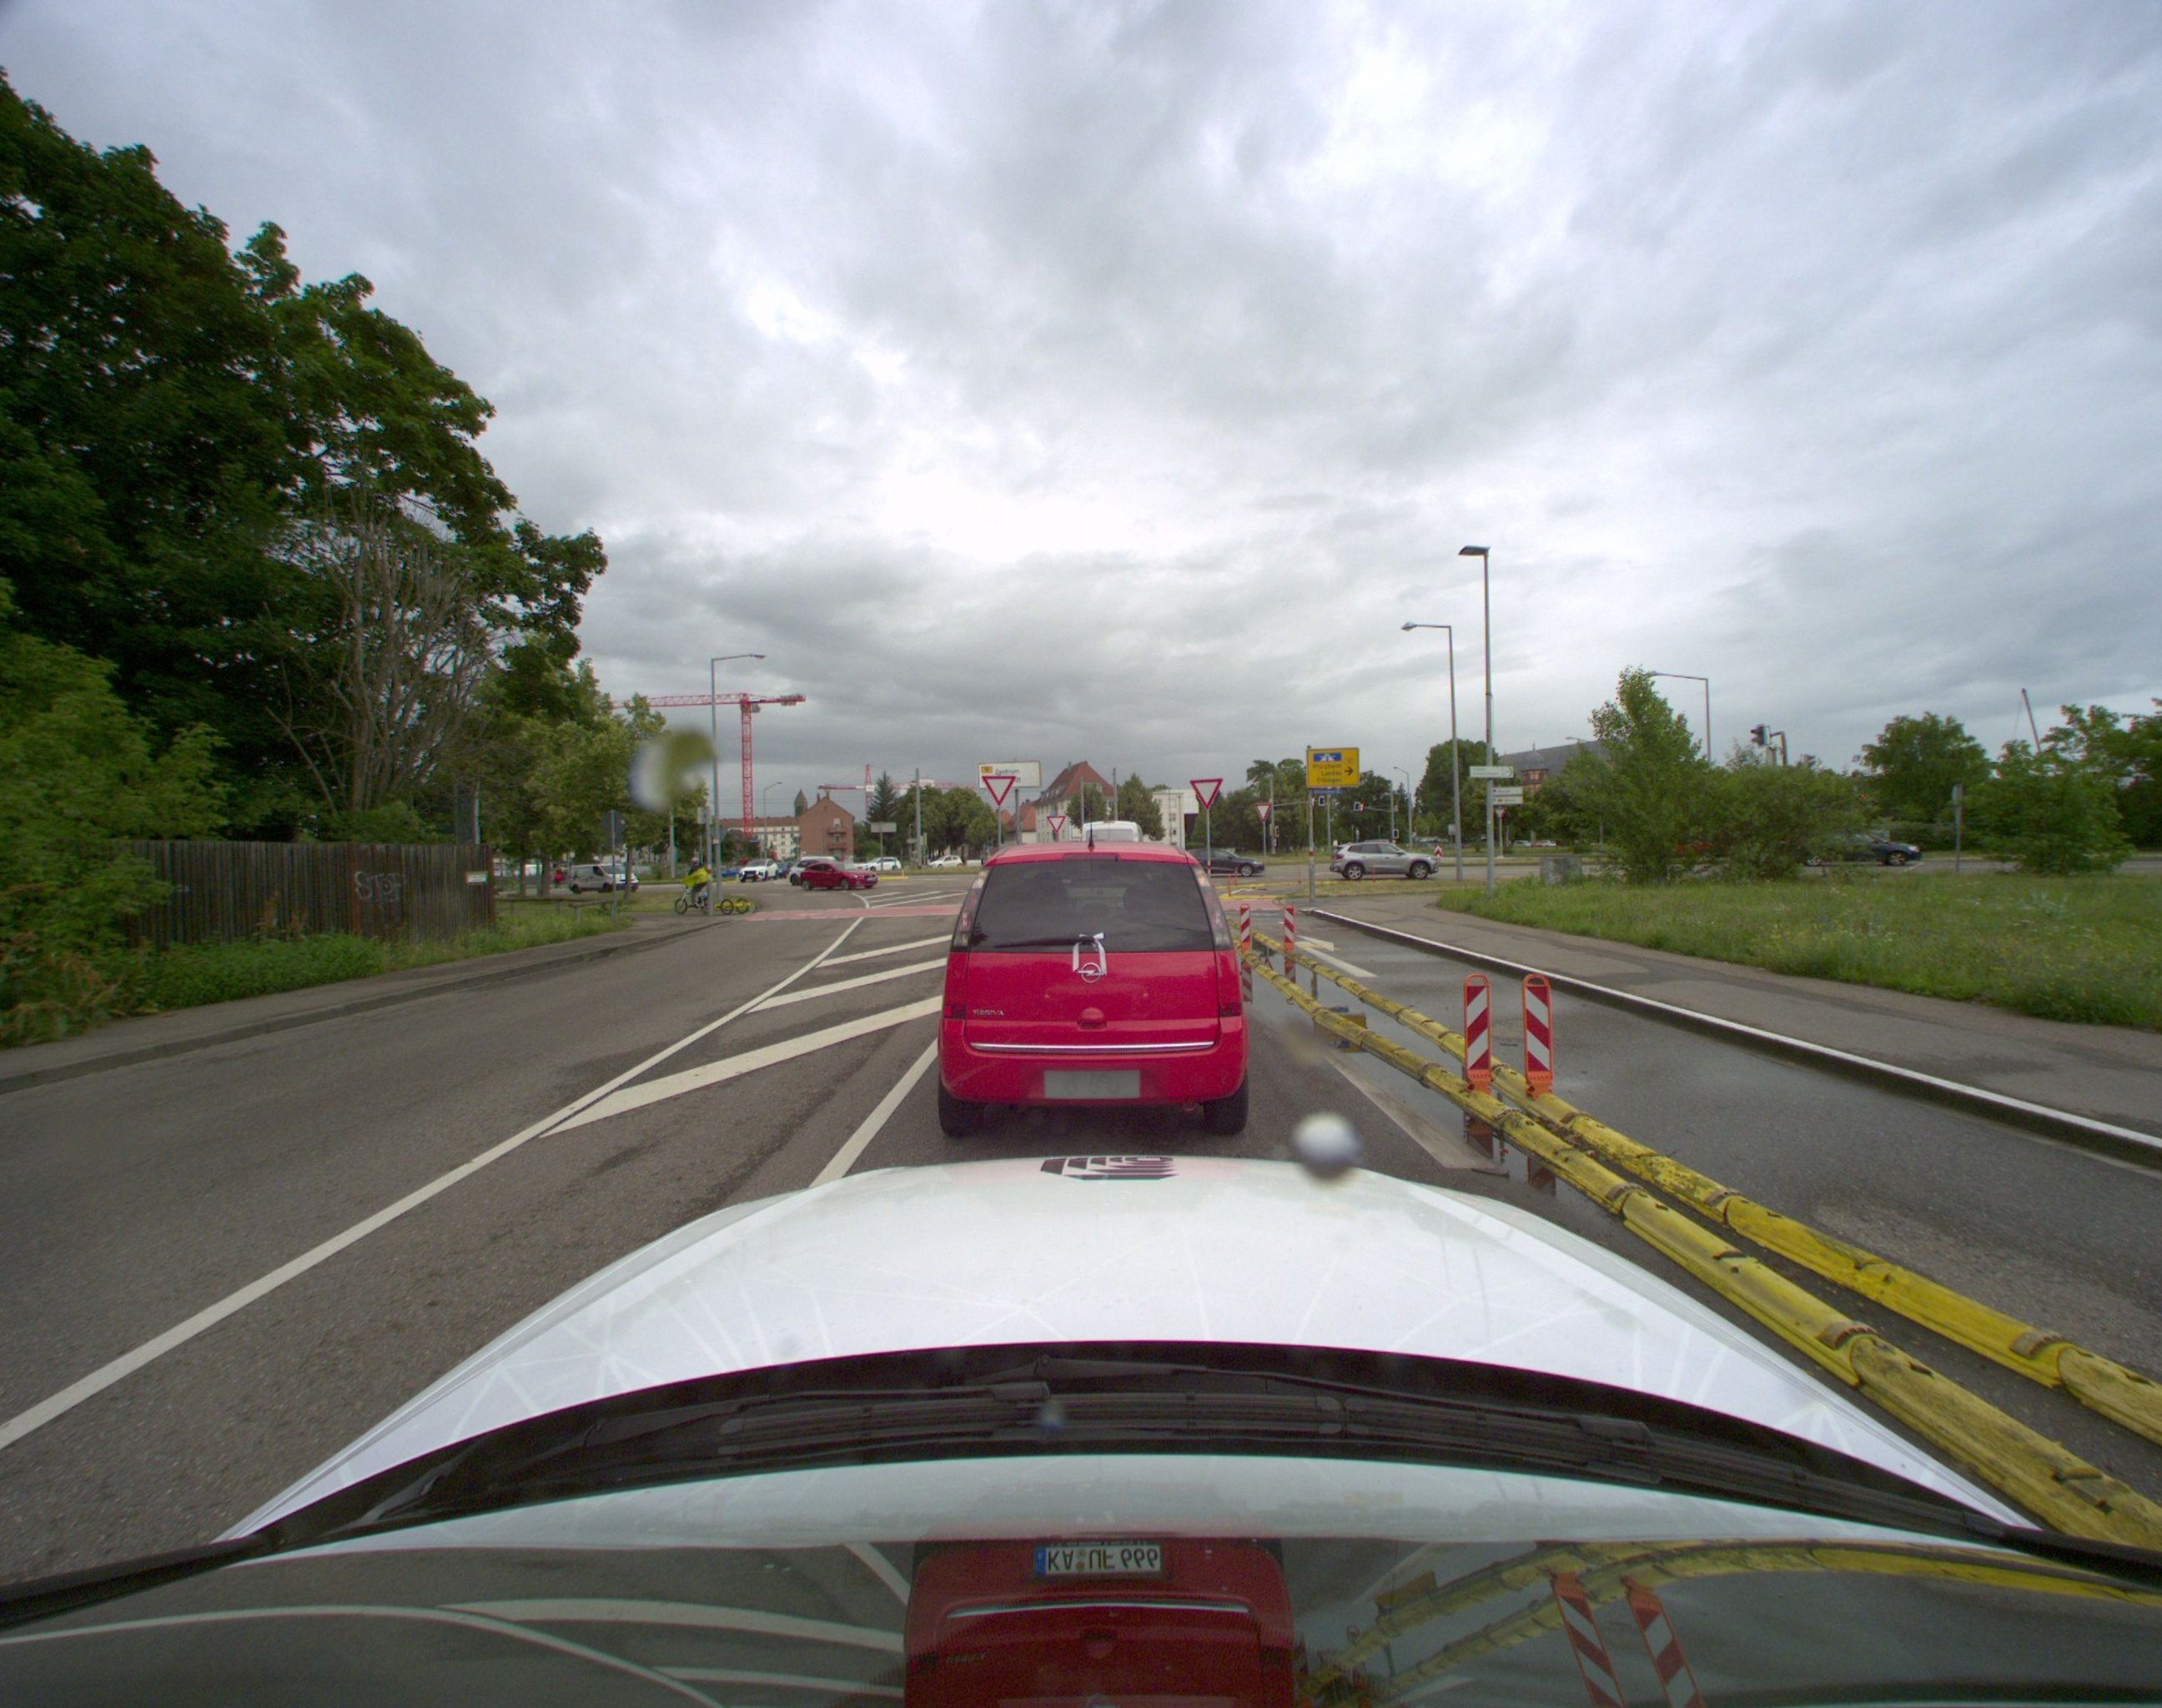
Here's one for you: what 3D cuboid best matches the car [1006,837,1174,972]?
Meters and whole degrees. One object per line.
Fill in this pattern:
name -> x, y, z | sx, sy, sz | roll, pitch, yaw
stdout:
car -> 0.183, 0.613, 12.296 | 2.052, 1.648, 4.609 | -1, 0, 2

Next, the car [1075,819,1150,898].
car -> 1.227, 0.143, 29.103 | 2.183, 2.540, 4.973 | -1, 0, 7

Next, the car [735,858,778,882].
car -> -24.569, 1.186, 61.794 | 1.928, 1.684, 4.180 | -2, 0, -6

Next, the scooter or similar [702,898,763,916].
scooter or similar -> -11.301, 1.719, 26.435 | 1.594, 0.504, 0.929 | -2, 0, 18

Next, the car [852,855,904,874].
car -> -20.164, 1.027, 81.213 | 1.974, 1.635, 4.704 | -2, 0, 41

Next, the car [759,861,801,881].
car -> -25.243, 1.406, 68.434 | 1.923, 1.489, 4.002 | -2, 0, 2

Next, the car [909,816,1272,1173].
car -> 0.098, 0.648, 5.593 | 1.667, 1.640, 3.629 | -1, 0, 2

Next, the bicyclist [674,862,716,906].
bicyclist -> -12.742, 0.979, 26.901 | 1.053, 1.401, 0.618 | -2, 0, 18

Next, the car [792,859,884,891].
car -> -12.384, 1.057, 41.433 | 4.301, 1.464, 2.013 | -2, 0, 30

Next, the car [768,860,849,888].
car -> -16.003, 1.157, 47.878 | 3.962, 1.508, 2.006 | -2, 0, 10

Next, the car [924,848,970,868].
car -> -14.471, 0.446, 87.910 | 4.502, 2.013, 1.977 | -2, 0, -38

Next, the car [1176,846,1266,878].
car -> 7.040, 0.386, 41.030 | 4.282, 1.464, 2.005 | -2, 0, 9

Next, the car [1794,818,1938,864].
car -> 33.854, -0.532, 35.308 | 4.153, 1.813, 2.091 | -2, 0, 34

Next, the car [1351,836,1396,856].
car -> 31.458, -0.877, 87.758 | 2.004, 2.013, 4.439 | -2, 0, -26

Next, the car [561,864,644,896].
car -> -30.929, 1.663, 52.598 | 4.790, 1.900, 2.110 | -2, 0, 23

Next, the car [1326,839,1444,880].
car -> 13.092, 0.231, 35.359 | 4.489, 1.583, 2.006 | -2, 0, 9

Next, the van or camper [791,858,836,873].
van or camper -> -39.901, 1.667, 121.564 | 6.135, 2.013, 2.007 | -2, 0, 12

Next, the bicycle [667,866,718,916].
bicycle -> -12.837, 1.222, 26.930 | 1.465, 1.612, 0.609 | -2, 0, 18
